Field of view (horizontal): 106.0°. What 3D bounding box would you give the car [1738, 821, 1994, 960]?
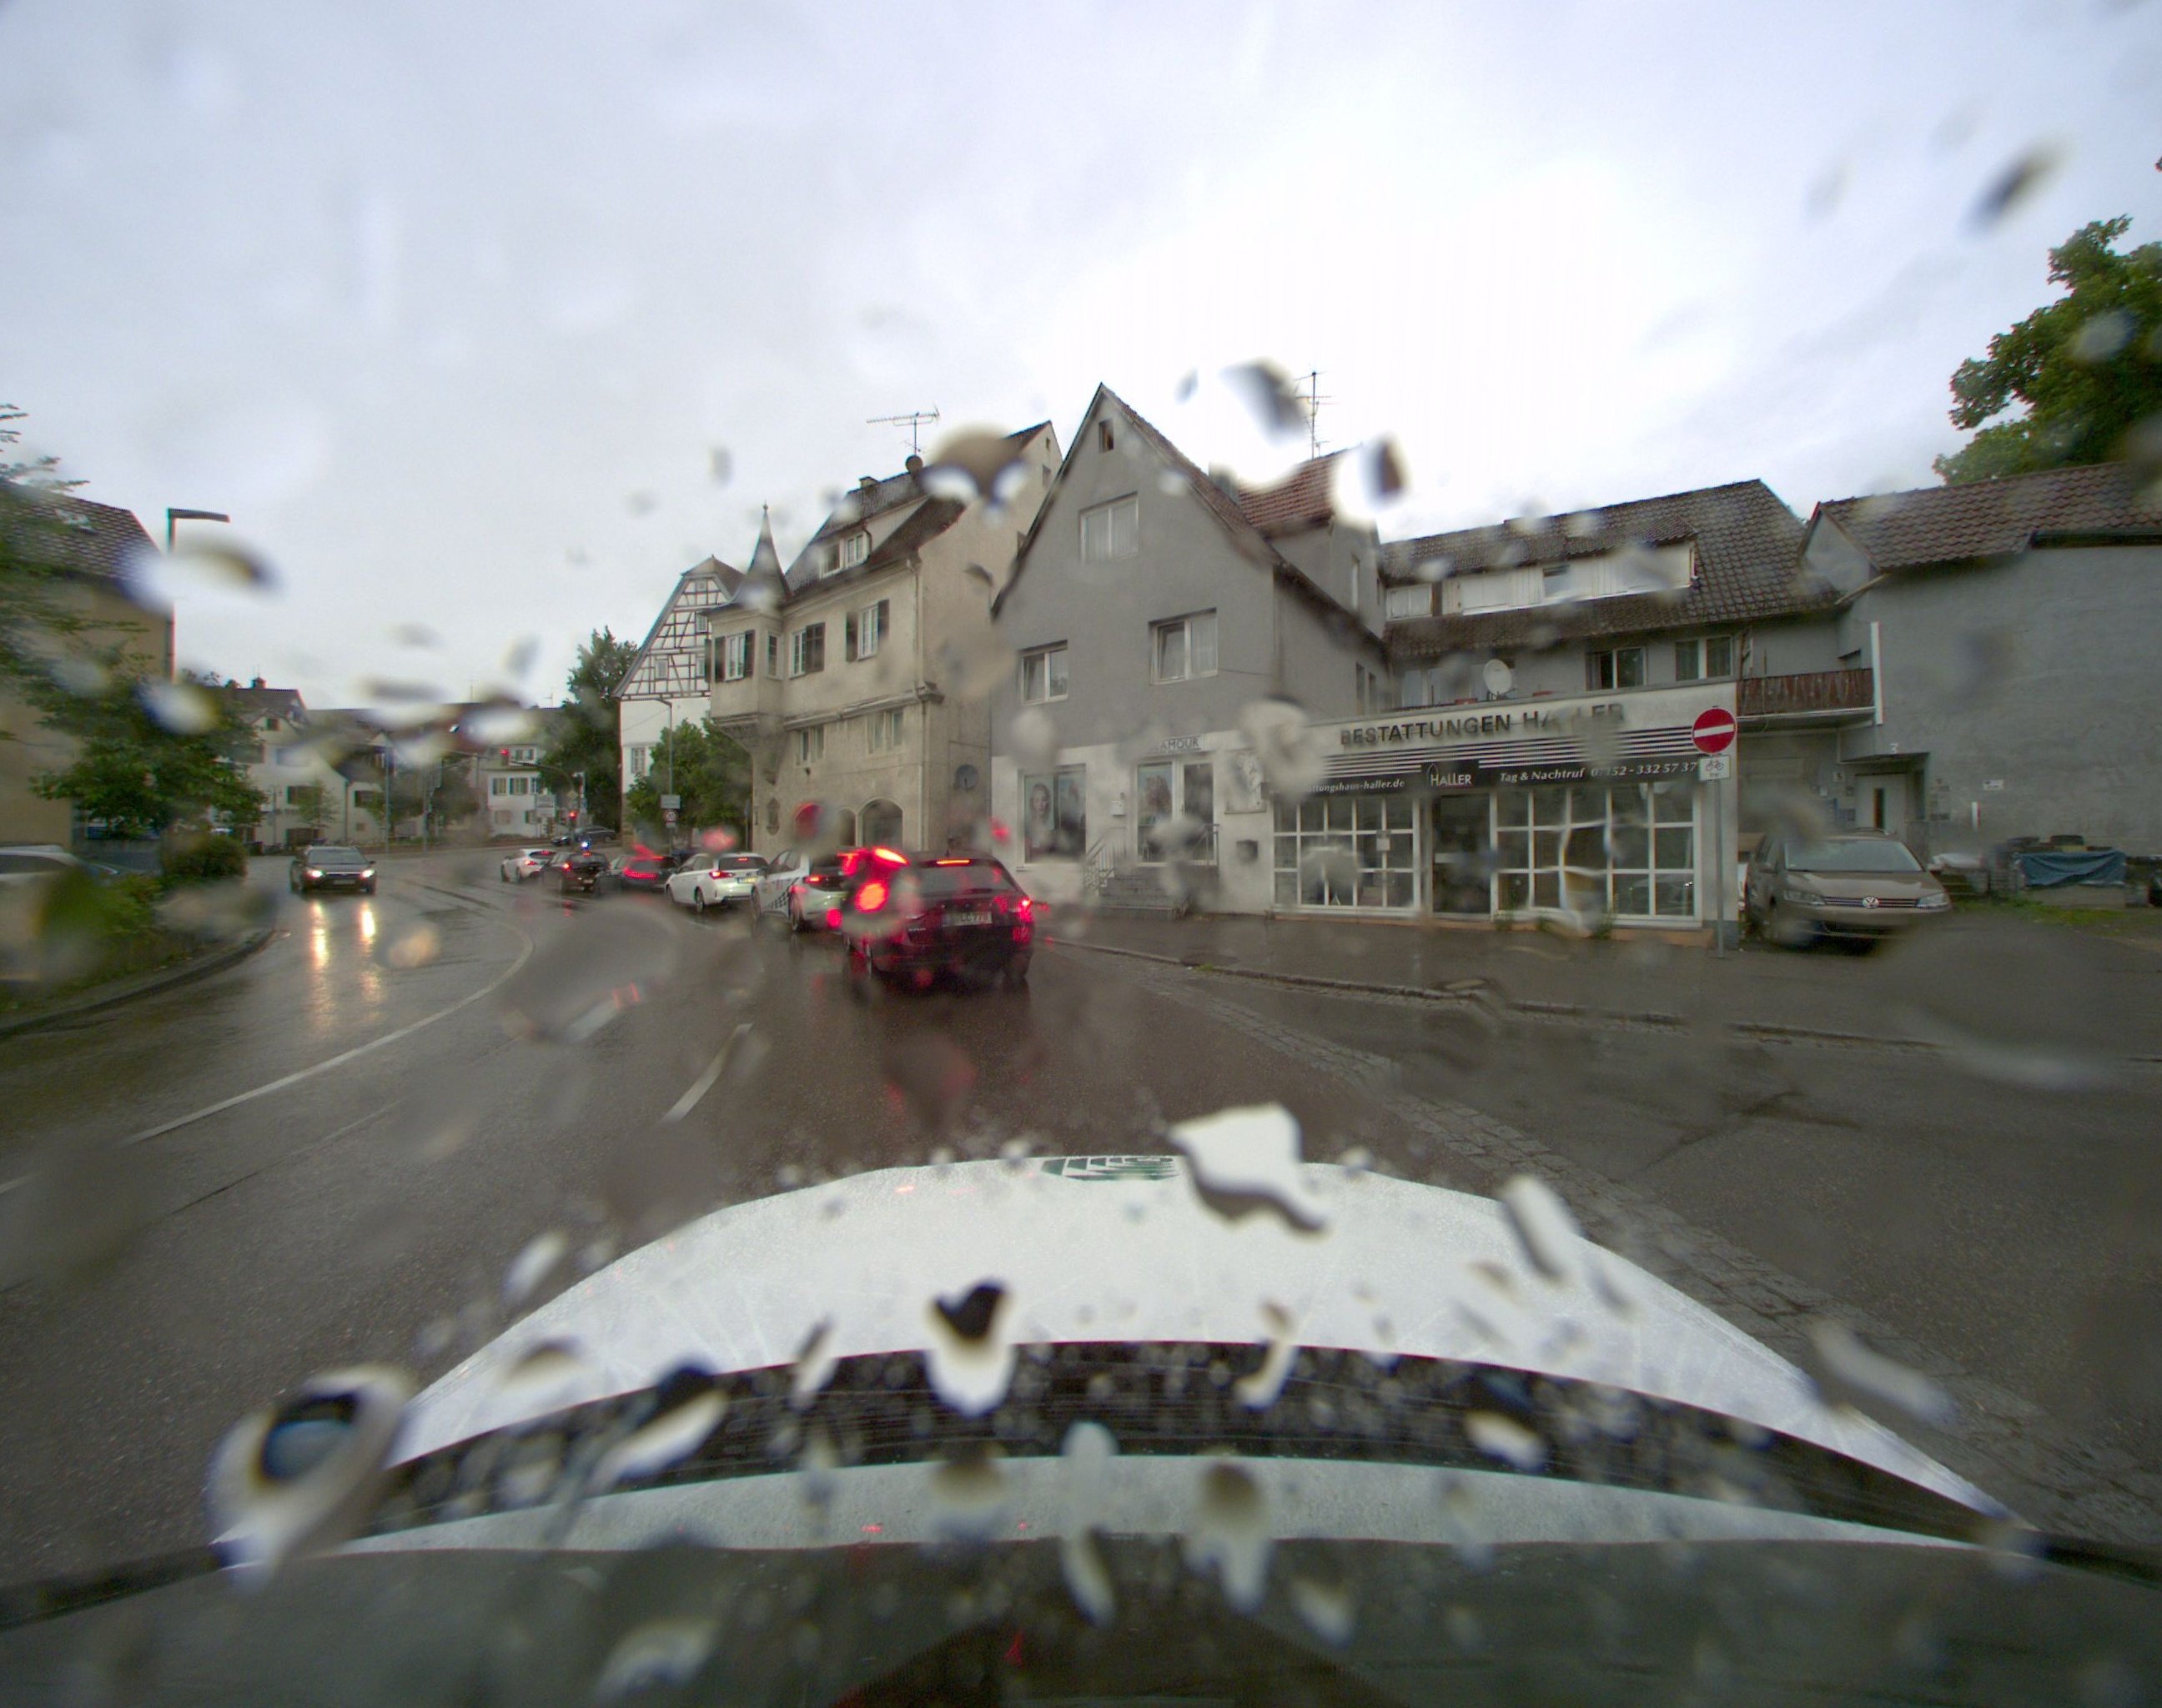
[{"bbox_3d":[11.810,0.388,12.657,1.905,1.727,4.698,-1,2,32],"label":"car"}]
